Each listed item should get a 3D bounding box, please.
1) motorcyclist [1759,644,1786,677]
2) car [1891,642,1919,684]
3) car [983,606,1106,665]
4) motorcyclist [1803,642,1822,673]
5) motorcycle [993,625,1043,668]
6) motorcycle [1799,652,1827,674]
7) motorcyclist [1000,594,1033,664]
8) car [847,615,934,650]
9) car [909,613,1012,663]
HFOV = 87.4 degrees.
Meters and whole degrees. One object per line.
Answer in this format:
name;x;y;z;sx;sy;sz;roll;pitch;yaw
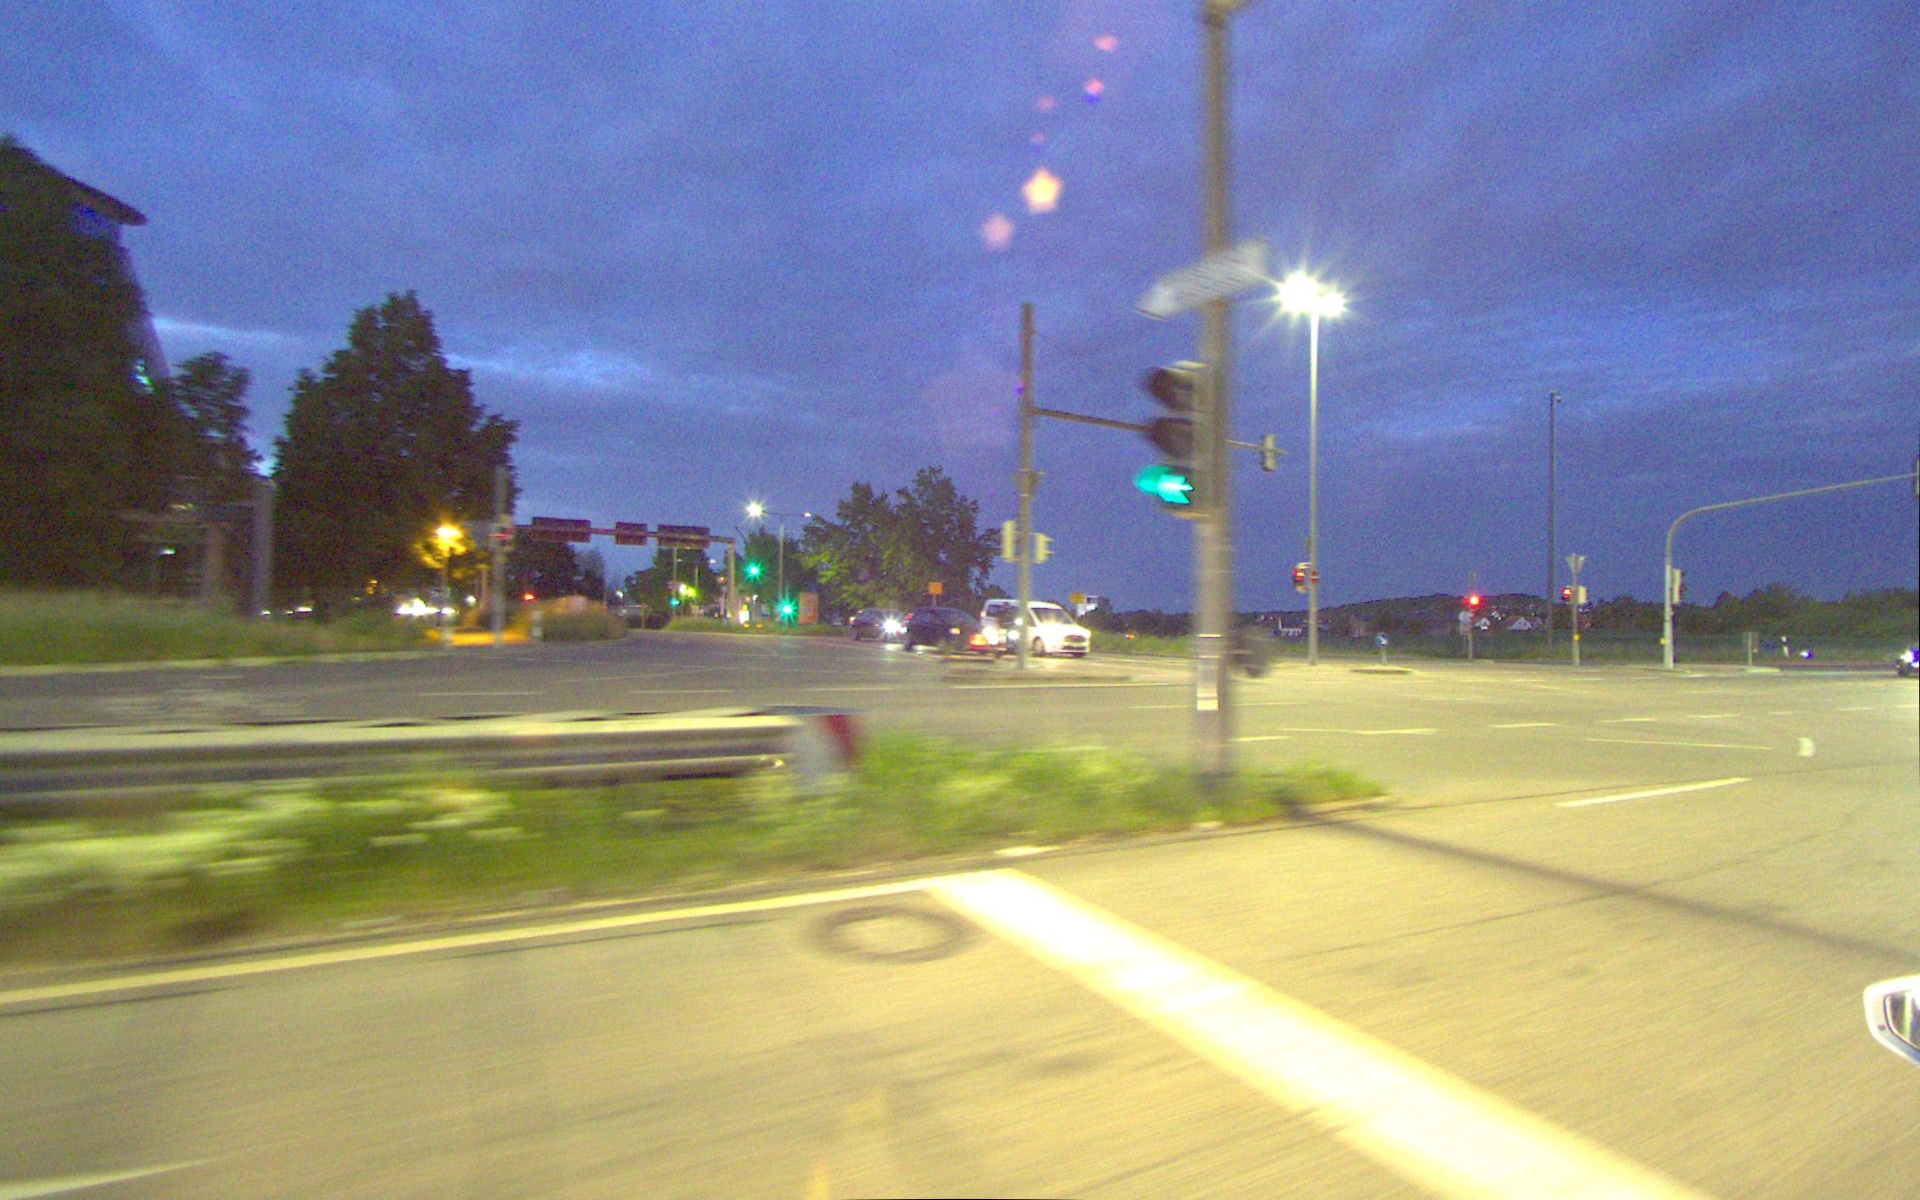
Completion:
motorcyclist;47.263;3.502;58.402;0.861;1.831;0.910;5;-7;-31
car;36.000;2.318;36.566;4.236;1.465;1.774;2;0;-27
car;2.777;1.158;34.126;1.827;1.838;4.737;2;-1;-29
motorcyclist;51.190;3.468;60.312;0.783;1.781;0.677;5;-6;-36
motorcycle;1.682;1.354;29.548;0.664;1.179;1.797;2;-1;-25
motorcycle;51.181;3.783;60.282;1.805;1.196;0.841;5;-7;-36
motorcyclist;1.670;0.849;29.599;0.628;2.040;0.763;2;0;-25
car;-3.116;1.394;44.286;1.856;1.416;4.798;3;-2;-30
car;-0.045;1.215;32.935;1.754;1.466;3.751;2;-1;-29
